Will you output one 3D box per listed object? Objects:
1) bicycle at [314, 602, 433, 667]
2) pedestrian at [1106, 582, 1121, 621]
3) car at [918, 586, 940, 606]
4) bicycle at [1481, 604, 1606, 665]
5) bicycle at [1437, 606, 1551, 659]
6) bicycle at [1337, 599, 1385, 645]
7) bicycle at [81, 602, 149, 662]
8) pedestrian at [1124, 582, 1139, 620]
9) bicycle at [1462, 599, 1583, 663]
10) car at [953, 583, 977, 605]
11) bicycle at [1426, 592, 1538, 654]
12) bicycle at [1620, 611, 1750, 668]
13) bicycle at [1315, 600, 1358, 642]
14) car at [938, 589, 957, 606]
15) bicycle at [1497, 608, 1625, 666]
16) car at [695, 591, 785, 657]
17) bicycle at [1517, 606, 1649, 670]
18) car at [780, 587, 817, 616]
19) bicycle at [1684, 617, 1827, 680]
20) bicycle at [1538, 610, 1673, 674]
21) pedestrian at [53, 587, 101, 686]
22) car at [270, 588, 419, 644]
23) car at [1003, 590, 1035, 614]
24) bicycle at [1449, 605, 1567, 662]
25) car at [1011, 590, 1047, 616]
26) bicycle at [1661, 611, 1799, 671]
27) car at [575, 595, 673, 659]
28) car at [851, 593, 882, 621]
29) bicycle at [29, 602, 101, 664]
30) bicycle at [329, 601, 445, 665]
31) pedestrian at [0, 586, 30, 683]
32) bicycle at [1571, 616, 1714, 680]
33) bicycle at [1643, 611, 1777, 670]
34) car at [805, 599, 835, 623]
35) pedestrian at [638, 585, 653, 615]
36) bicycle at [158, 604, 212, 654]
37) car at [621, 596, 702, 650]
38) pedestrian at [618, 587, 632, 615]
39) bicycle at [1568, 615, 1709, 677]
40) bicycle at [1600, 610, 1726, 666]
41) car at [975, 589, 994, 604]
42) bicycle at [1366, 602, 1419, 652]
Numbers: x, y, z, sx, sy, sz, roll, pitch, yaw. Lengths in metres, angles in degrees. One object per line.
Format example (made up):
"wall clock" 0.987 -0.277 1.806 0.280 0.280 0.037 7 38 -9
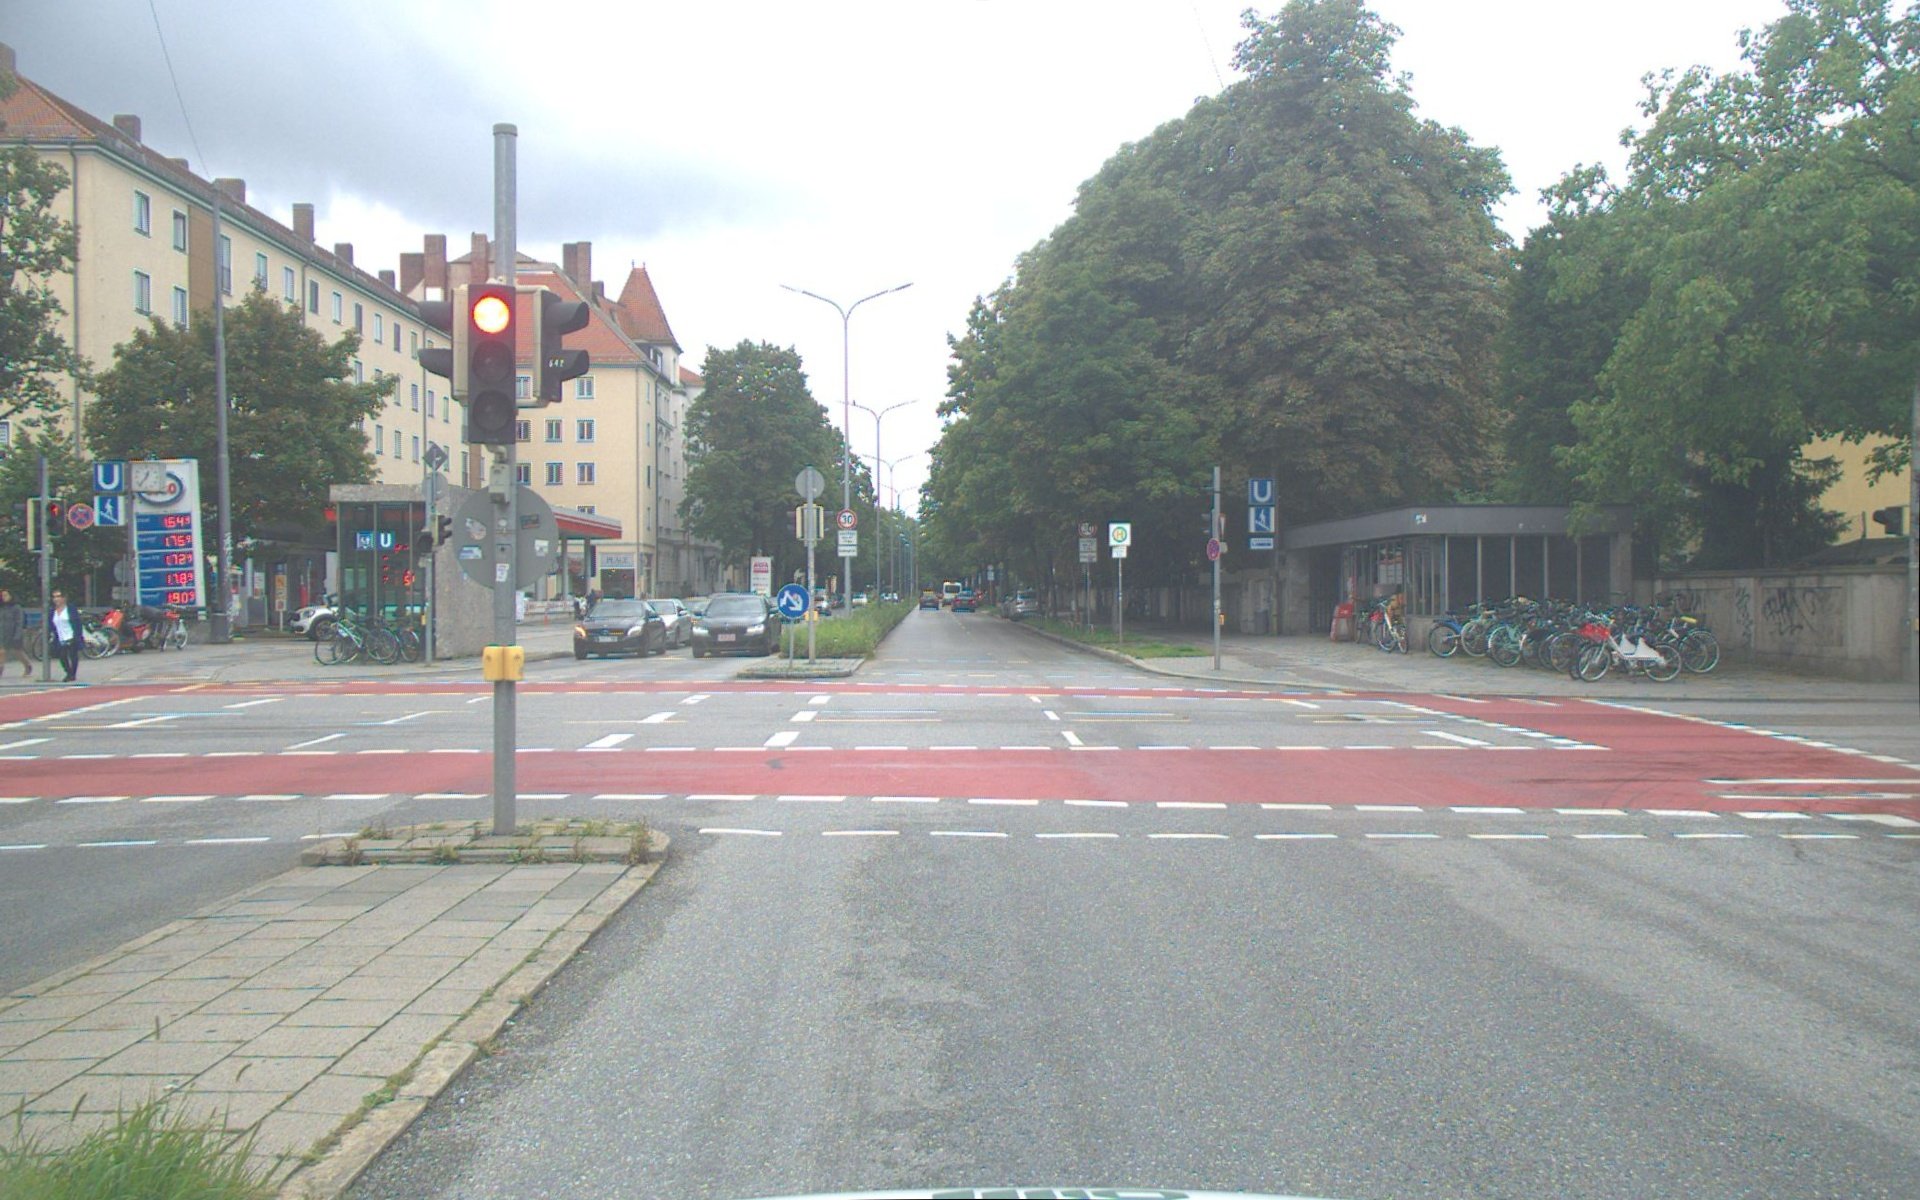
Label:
"bicycle" -12.298 0.722 34.732 2.225 1.327 0.704 0 0 0
"pedestrian" 6.922 0.063 74.693 0.663 1.712 0.683 0 0 5
"car" -2.677 -0.341 141.326 1.819 1.713 3.999 0 0 -1
"bicycle" 10.834 0.636 30.754 2.097 1.105 0.603 0 0 7
"bicycle" 10.661 0.652 33.072 2.097 1.032 0.603 0 0 7
"bicycle" 9.445 0.504 39.015 0.545 1.032 2.014 0 0 -3
"bicycle" -18.423 0.678 36.097 0.596 1.257 2.184 0 0 -7
"pedestrian" 7.777 0.031 74.883 0.663 1.712 0.683 0 0 5
"bicycle" 10.691 0.585 31.489 2.097 1.199 0.603 0 0 7
"car" 0.389 -0.464 133.764 1.883 1.713 3.999 1 0 -1
"bicycle" 10.647 0.467 33.790 2.097 1.240 0.603 0 0 7
"bicycle" 13.380 0.721 30.562 2.097 1.032 0.634 0 0 7
"bicycle" 9.637 0.521 42.403 0.545 1.032 2.014 0 0 -3
"car" -1.330 -0.271 172.106 1.953 1.787 3.999 0 0 -2
"bicycle" 10.887 0.675 30.026 2.097 1.032 0.603 0 0 7
"car" -5.320 0.549 40.399 1.724 1.519 3.999 0 0 -1
"bicycle" 11.026 0.670 29.314 2.097 1.120 0.603 0 0 7
"car" -9.730 0.062 99.926 1.838 1.697 4.000 0 0 0
"bicycle" 13.548 0.823 28.206 2.097 1.032 0.634 0 0 7
"bicycle" 11.174 0.721 28.662 2.097 1.089 0.603 0 0 7
"pedestrian" -15.550 0.639 29.132 0.523 1.725 0.577 0 0 2
"car" -18.939 0.464 50.982 1.783 1.637 3.945 0 1 41
"car" 3.525 0.123 99.802 1.708 1.387 3.805 0 0 -1
"bicycle" 10.649 0.645 32.190 2.097 1.080 0.603 0 0 7
"car" 3.701 0.137 89.819 1.708 1.387 3.805 0 0 -1
"bicycle" 13.483 0.721 29.002 2.097 1.032 0.634 0 0 7
"car" -8.368 0.630 41.469 1.724 1.486 3.999 0 0 -1
"car" -4.822 0.350 85.483 1.438 1.423 3.699 0 0 -1
"bicycle" -19.054 0.684 35.257 0.596 1.257 2.184 0 0 -7
"bicycle" -12.288 0.706 35.512 2.238 1.327 0.694 0 0 0
"pedestrian" -17.131 0.620 29.842 0.584 1.725 0.571 0 0 -32
"bicycle" 11.222 0.787 27.233 2.097 1.032 0.603 0 0 7
"bicycle" 13.474 0.724 29.769 2.097 1.032 0.634 0 0 7
"car" -9.408 0.745 111.321 1.724 1.519 3.999 0 0 -1
"pedestrian" -17.968 0.000 94.429 0.682 1.666 0.738 0 0 -1
"bicycle" -18.837 0.688 40.235 0.596 1.165 1.962 0 0 -7
"car" -8.654 0.638 48.254 1.724 1.486 3.999 0 0 -1
"pedestrian" -19.899 0.056 98.223 0.682 1.666 0.738 0 0 -1
"bicycle" 11.406 0.772 27.861 2.097 1.032 0.634 0 0 7
"bicycle" 13.313 0.719 31.345 2.097 1.032 0.634 0 0 7
"car" 2.383 -0.345 159.405 1.708 1.452 3.898 0 0 -1
"bicycle" 9.466 0.579 36.283 0.545 1.032 2.014 0 0 -3
